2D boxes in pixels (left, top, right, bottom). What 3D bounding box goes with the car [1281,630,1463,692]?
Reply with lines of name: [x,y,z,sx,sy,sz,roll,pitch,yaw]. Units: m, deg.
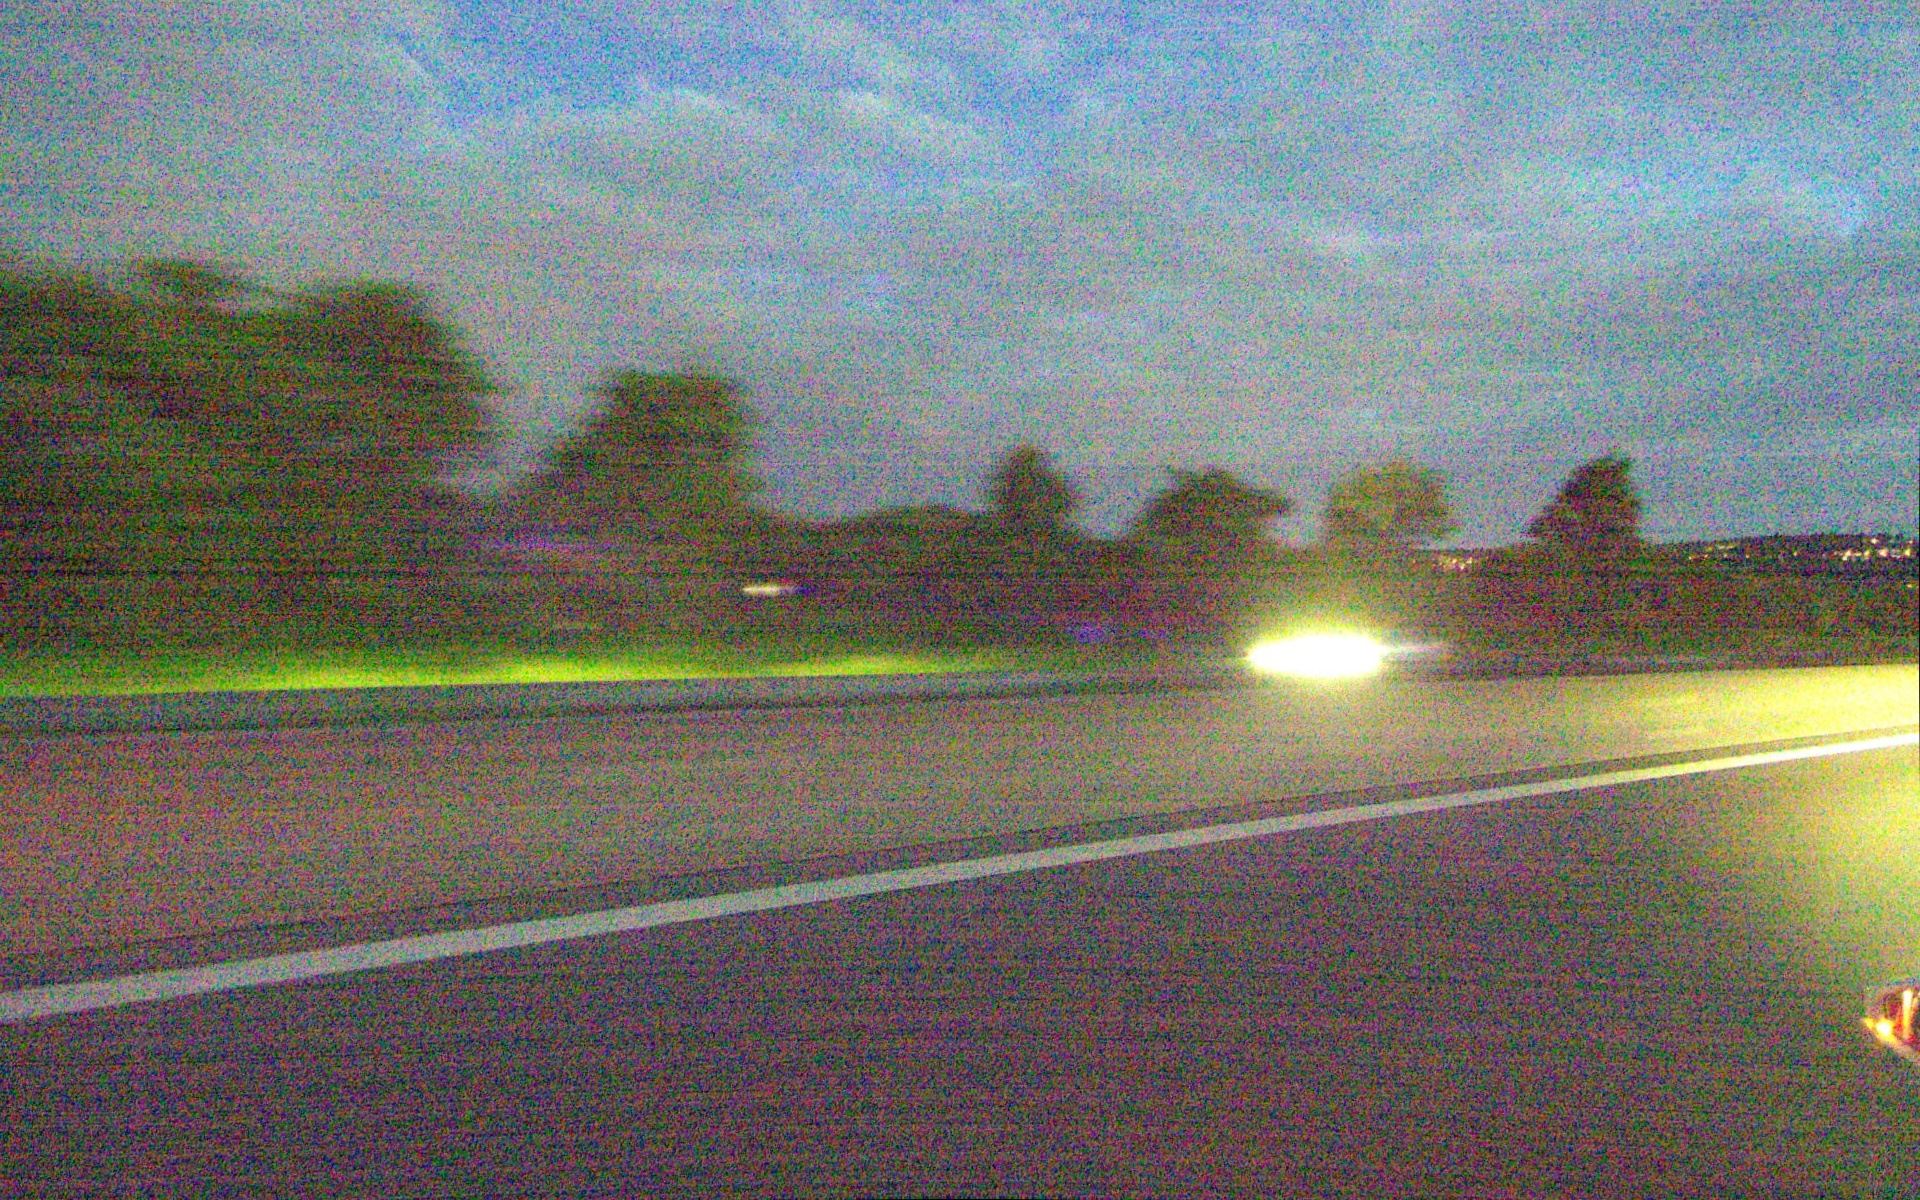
car: [11.462,1.628,27.870,5.123,1.558,1.955,1,-1,-30]
